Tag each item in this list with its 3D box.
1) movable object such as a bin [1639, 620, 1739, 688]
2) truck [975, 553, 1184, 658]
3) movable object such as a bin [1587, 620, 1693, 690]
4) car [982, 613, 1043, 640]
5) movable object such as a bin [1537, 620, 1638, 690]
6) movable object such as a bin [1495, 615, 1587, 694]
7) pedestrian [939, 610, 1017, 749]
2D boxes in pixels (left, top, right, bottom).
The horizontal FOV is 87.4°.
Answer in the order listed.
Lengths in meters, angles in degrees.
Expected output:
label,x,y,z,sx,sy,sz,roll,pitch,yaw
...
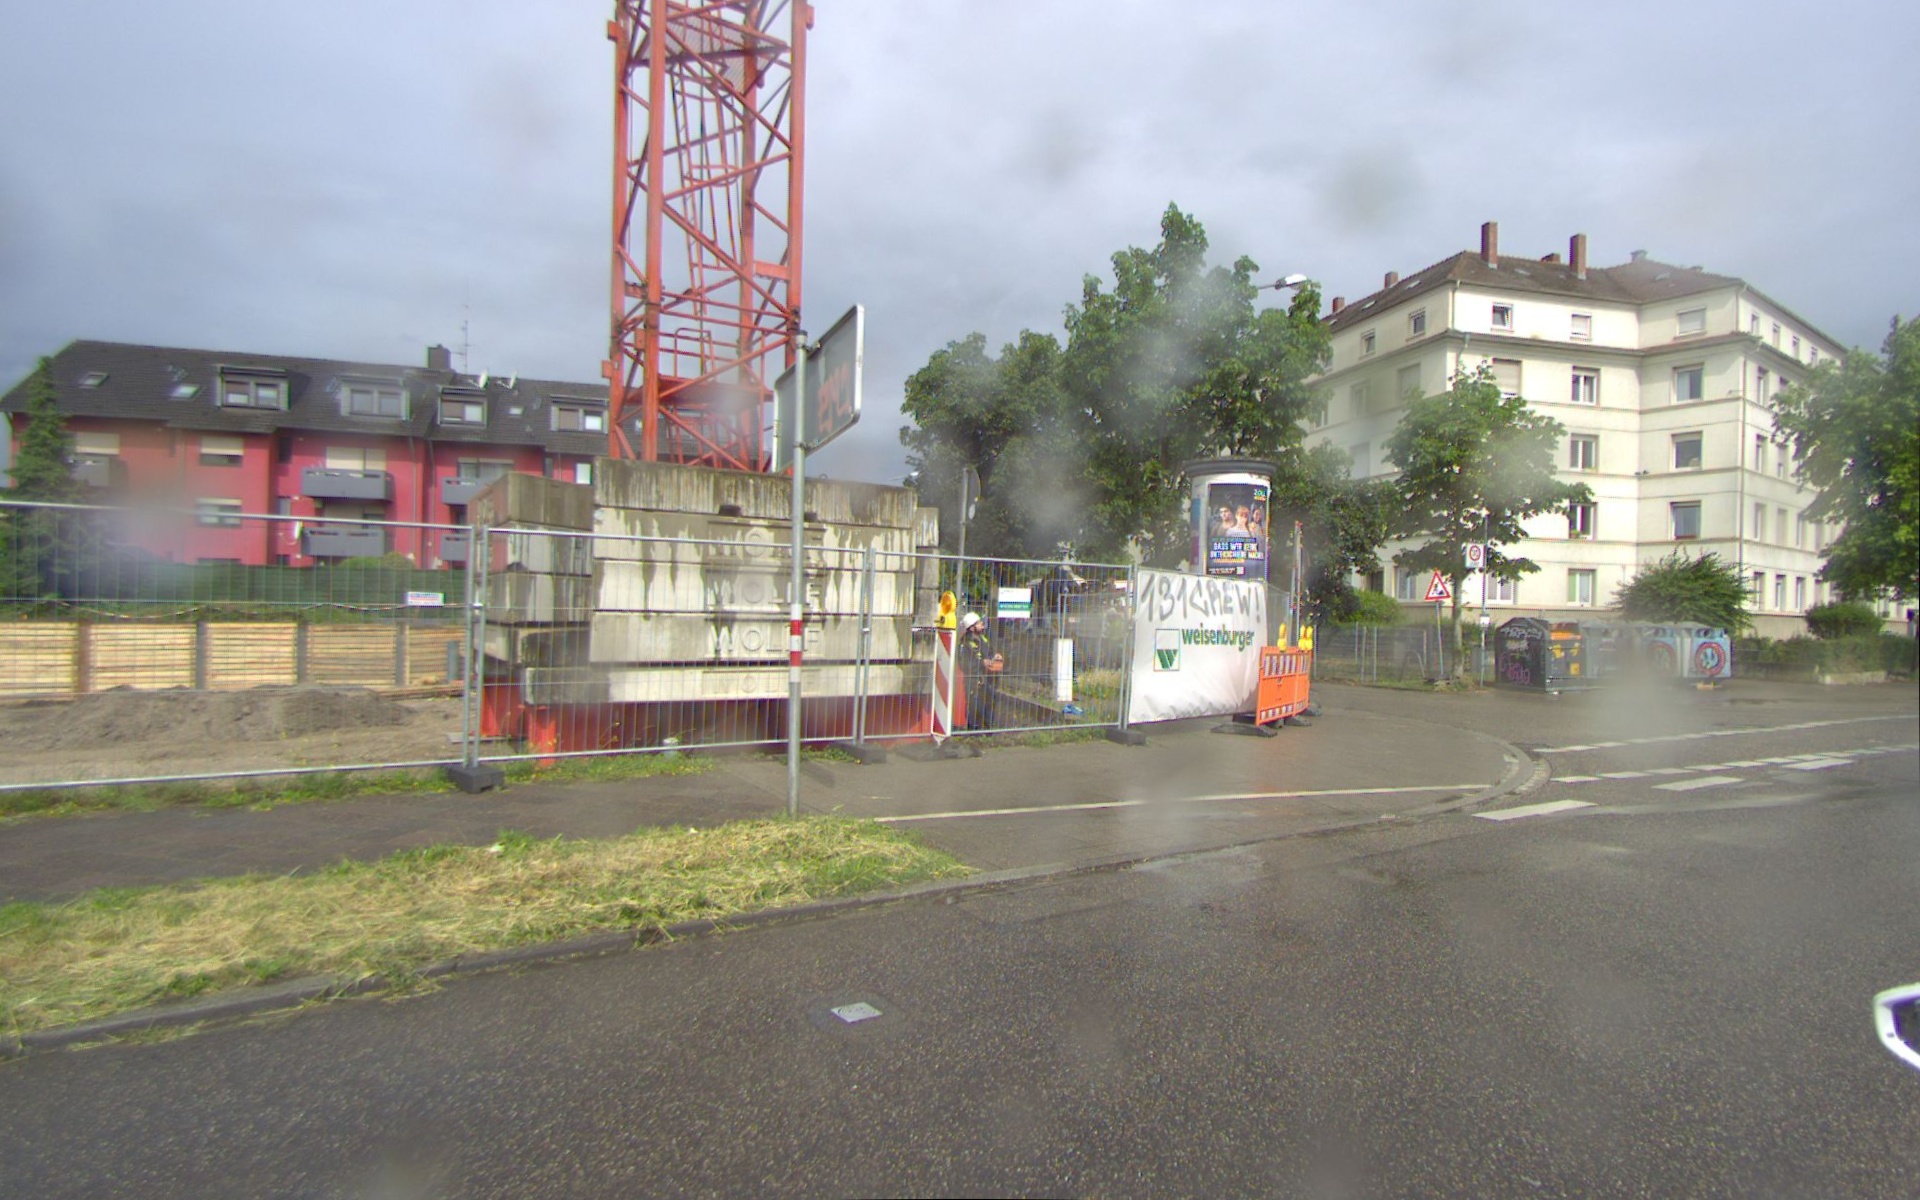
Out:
label,x,y,z,sx,sy,sz,roll,pitch,yaw
movable object such as a bin,18.707,1.361,25.818,1.434,1.684,1.539,0,-1,-13
truck,3.921,0.302,36.419,3.732,3.226,9.806,1,-1,-18
movable object such as a bin,17.186,1.367,25.428,1.637,1.696,1.539,0,-1,-13
car,3.529,1.795,67.606,3.765,1.733,1.816,1,-1,-12
movable object such as a bin,15.611,1.349,25.039,1.501,1.678,1.539,0,-1,-13
movable object such as a bin,14.150,1.306,24.506,1.241,1.848,1.539,0,-1,-13
pedestrian,0.235,0.971,12.663,0.709,1.651,0.684,3,1,20
